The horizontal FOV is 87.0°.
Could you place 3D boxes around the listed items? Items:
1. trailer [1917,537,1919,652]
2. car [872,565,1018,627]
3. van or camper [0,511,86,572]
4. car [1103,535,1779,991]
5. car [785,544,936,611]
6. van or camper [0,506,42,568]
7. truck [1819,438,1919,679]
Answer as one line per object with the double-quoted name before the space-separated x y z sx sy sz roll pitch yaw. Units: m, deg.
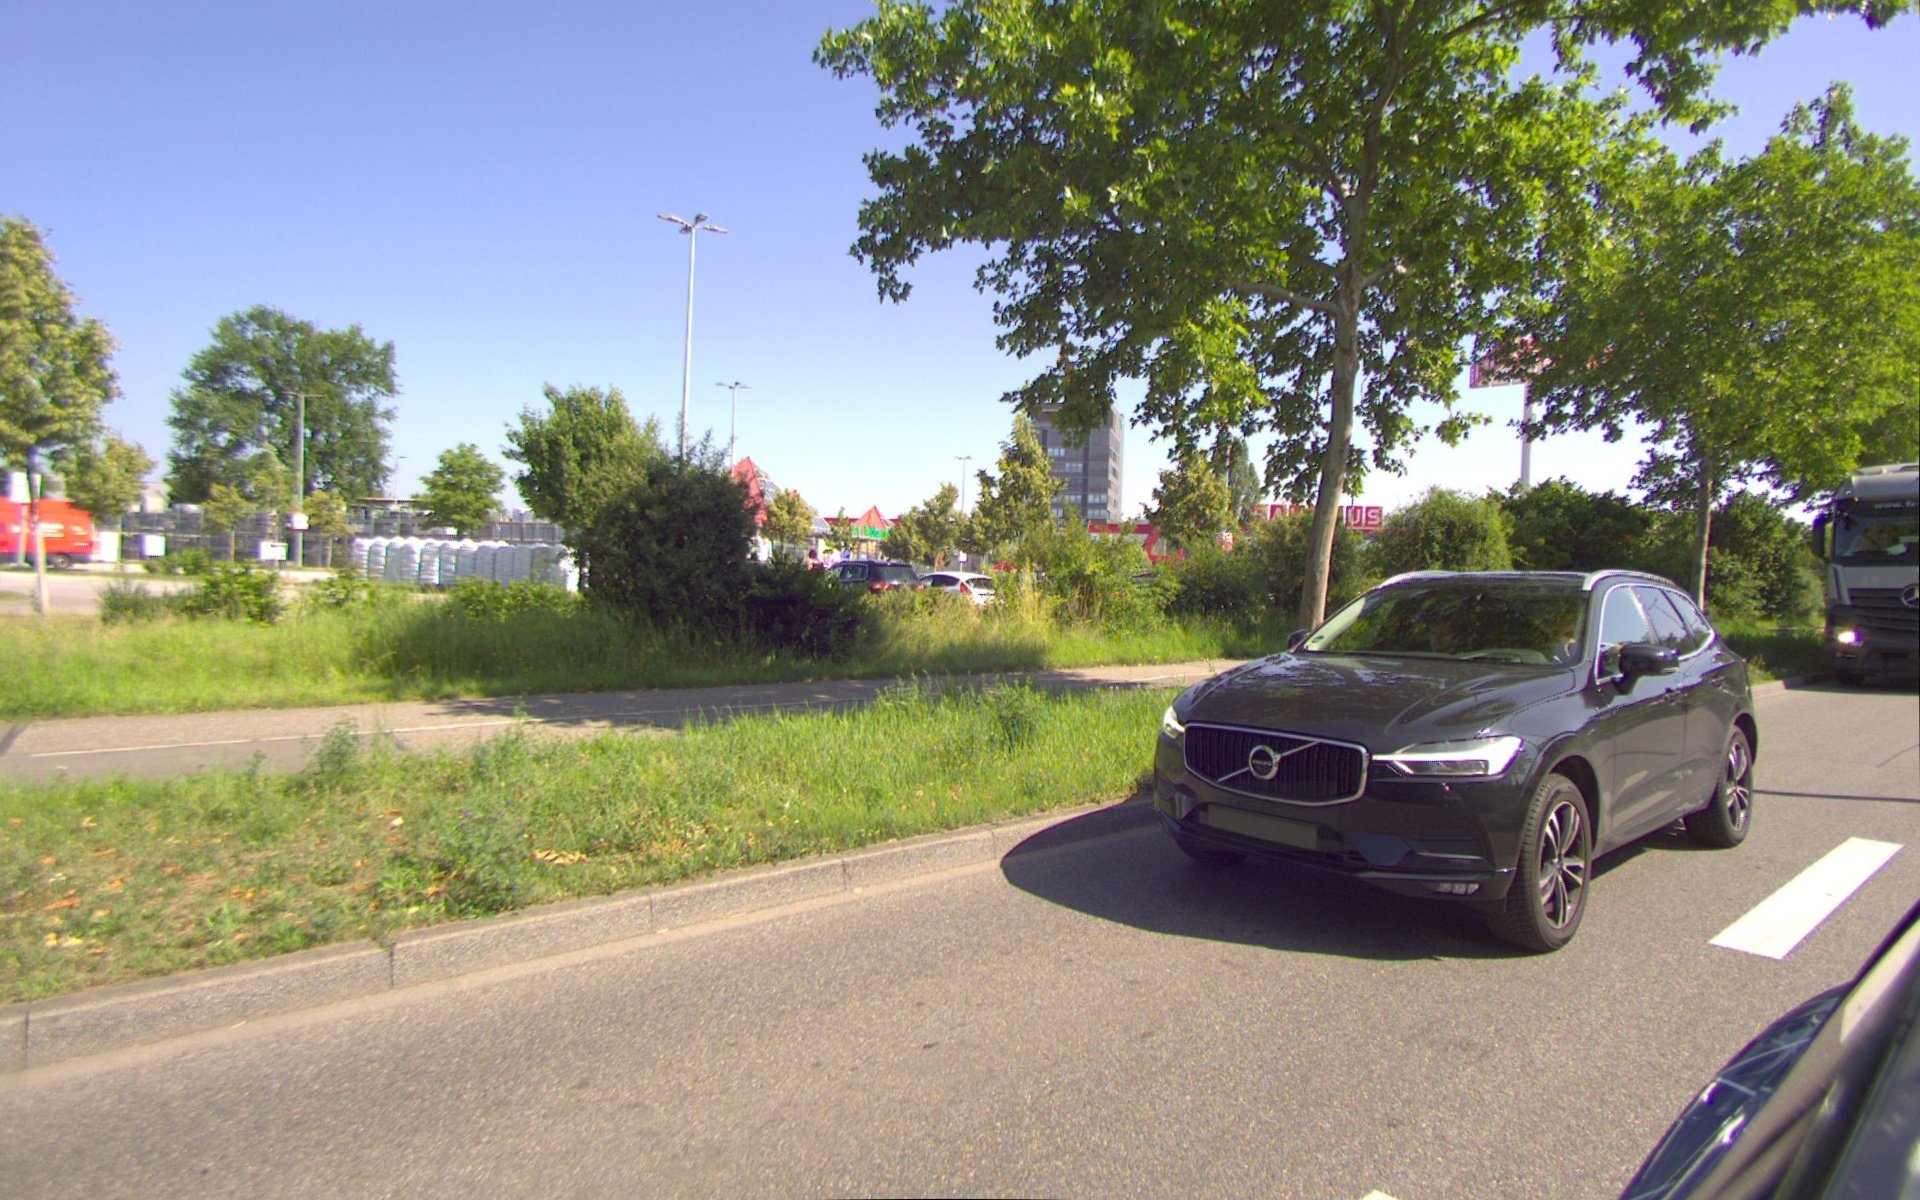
"trailer" 25.461 -0.789 24.169 7.596 3.925 2.743 -1 2 -39
"car" -0.474 -0.126 28.419 1.850 1.611 4.075 -1 0 -43
"van or camper" -45.436 -2.738 47.174 1.971 2.739 7.253 0 0 15
"car" 2.959 0.552 5.727 4.356 1.611 1.878 -1 0 -41
"car" -2.666 -0.559 26.469 1.850 1.611 4.075 -1 0 -43
"van or camper" -48.867 -3.121 48.586 1.971 2.979 7.253 0 0 15
"truck" 19.110 -0.715 19.109 8.564 3.938 2.737 -1 2 -38
